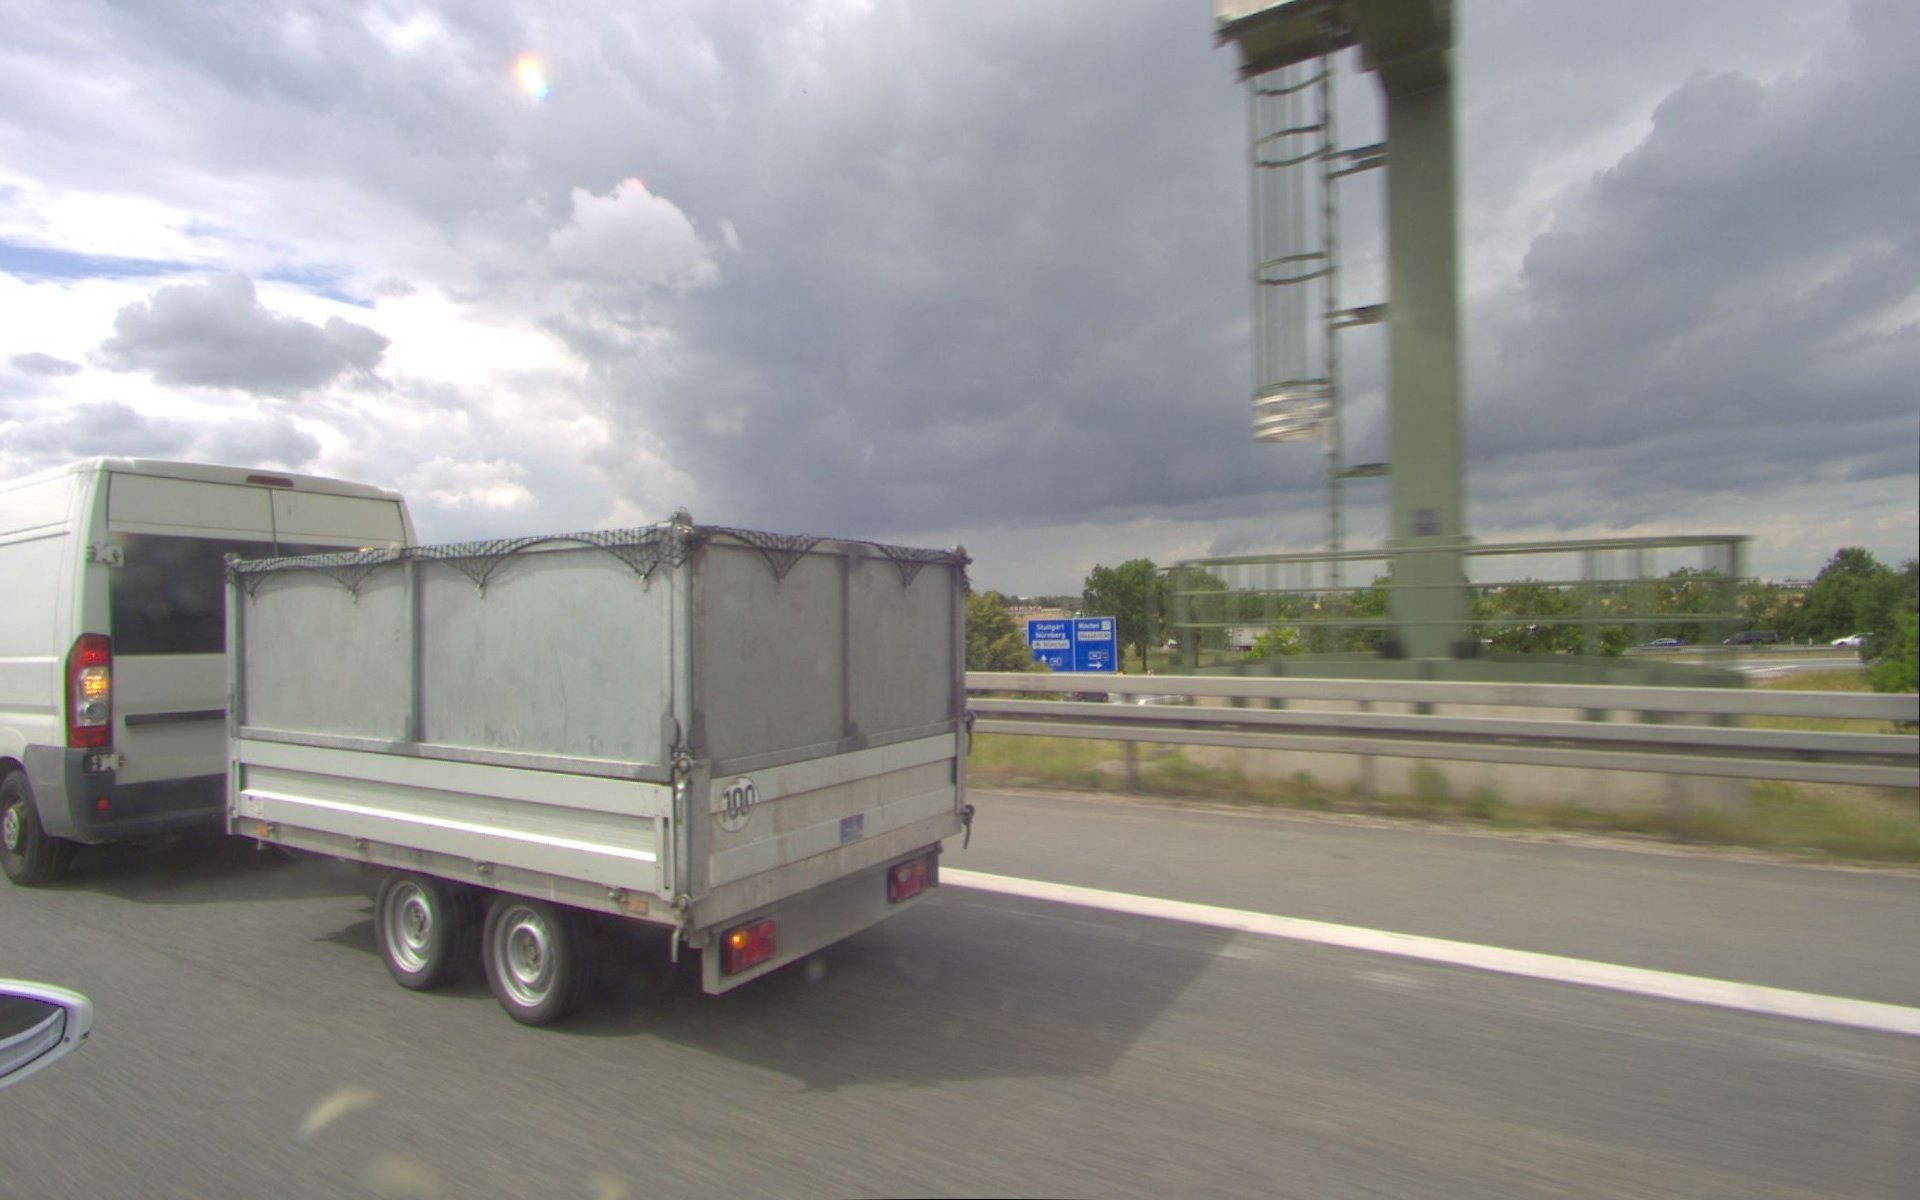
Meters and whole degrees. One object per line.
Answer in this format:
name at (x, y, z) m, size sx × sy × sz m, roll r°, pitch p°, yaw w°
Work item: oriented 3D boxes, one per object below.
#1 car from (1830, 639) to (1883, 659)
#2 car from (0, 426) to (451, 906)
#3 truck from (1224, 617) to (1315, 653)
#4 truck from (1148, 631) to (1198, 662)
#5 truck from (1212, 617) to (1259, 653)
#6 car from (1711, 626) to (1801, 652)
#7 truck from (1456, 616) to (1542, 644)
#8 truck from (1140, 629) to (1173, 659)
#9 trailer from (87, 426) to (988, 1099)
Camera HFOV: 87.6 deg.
car at (90.994, 4.952, 101.693) m, size 3.958 × 1.974 × 1.720 m, roll -1°, pitch -2°, yaw 44°
car at (-6.686, 0.409, 7.686) m, size 6.062 × 2.485 × 2.111 m, roll -1°, pitch -1°, yaw 31°
truck at (46.529, 5.216, 151.414) m, size 3.804 × 5.282 × 14.793 m, roll 0°, pitch -1°, yaw -28°
truck at (37.458, 8.143, 176.801) m, size 3.878 × 5.105 × 12.992 m, roll 0°, pitch -1°, yaw -12°
truck at (43.317, 5.515, 157.599) m, size 3.798 × 5.381 × 6.421 m, roll 0°, pitch -2°, yaw -25°
car at (82.533, 4.043, 103.926) m, size 2.739 × 2.602 × 7.020 m, roll 1°, pitch -2°, yaw -44°
truck at (66.773, 3.682, 124.253) m, size 3.302 × 3.411 × 8.959 m, roll 1°, pitch -2°, yaw -37°
truck at (36.309, 8.108, 185.205) m, size 3.788 × 5.381 × 6.439 m, roll 0°, pitch -2°, yaw -12°
trailer at (-2.289, 0.547, 5.022) m, size 4.564 × 2.039 × 1.852 m, roll -1°, pitch -1°, yaw 31°
